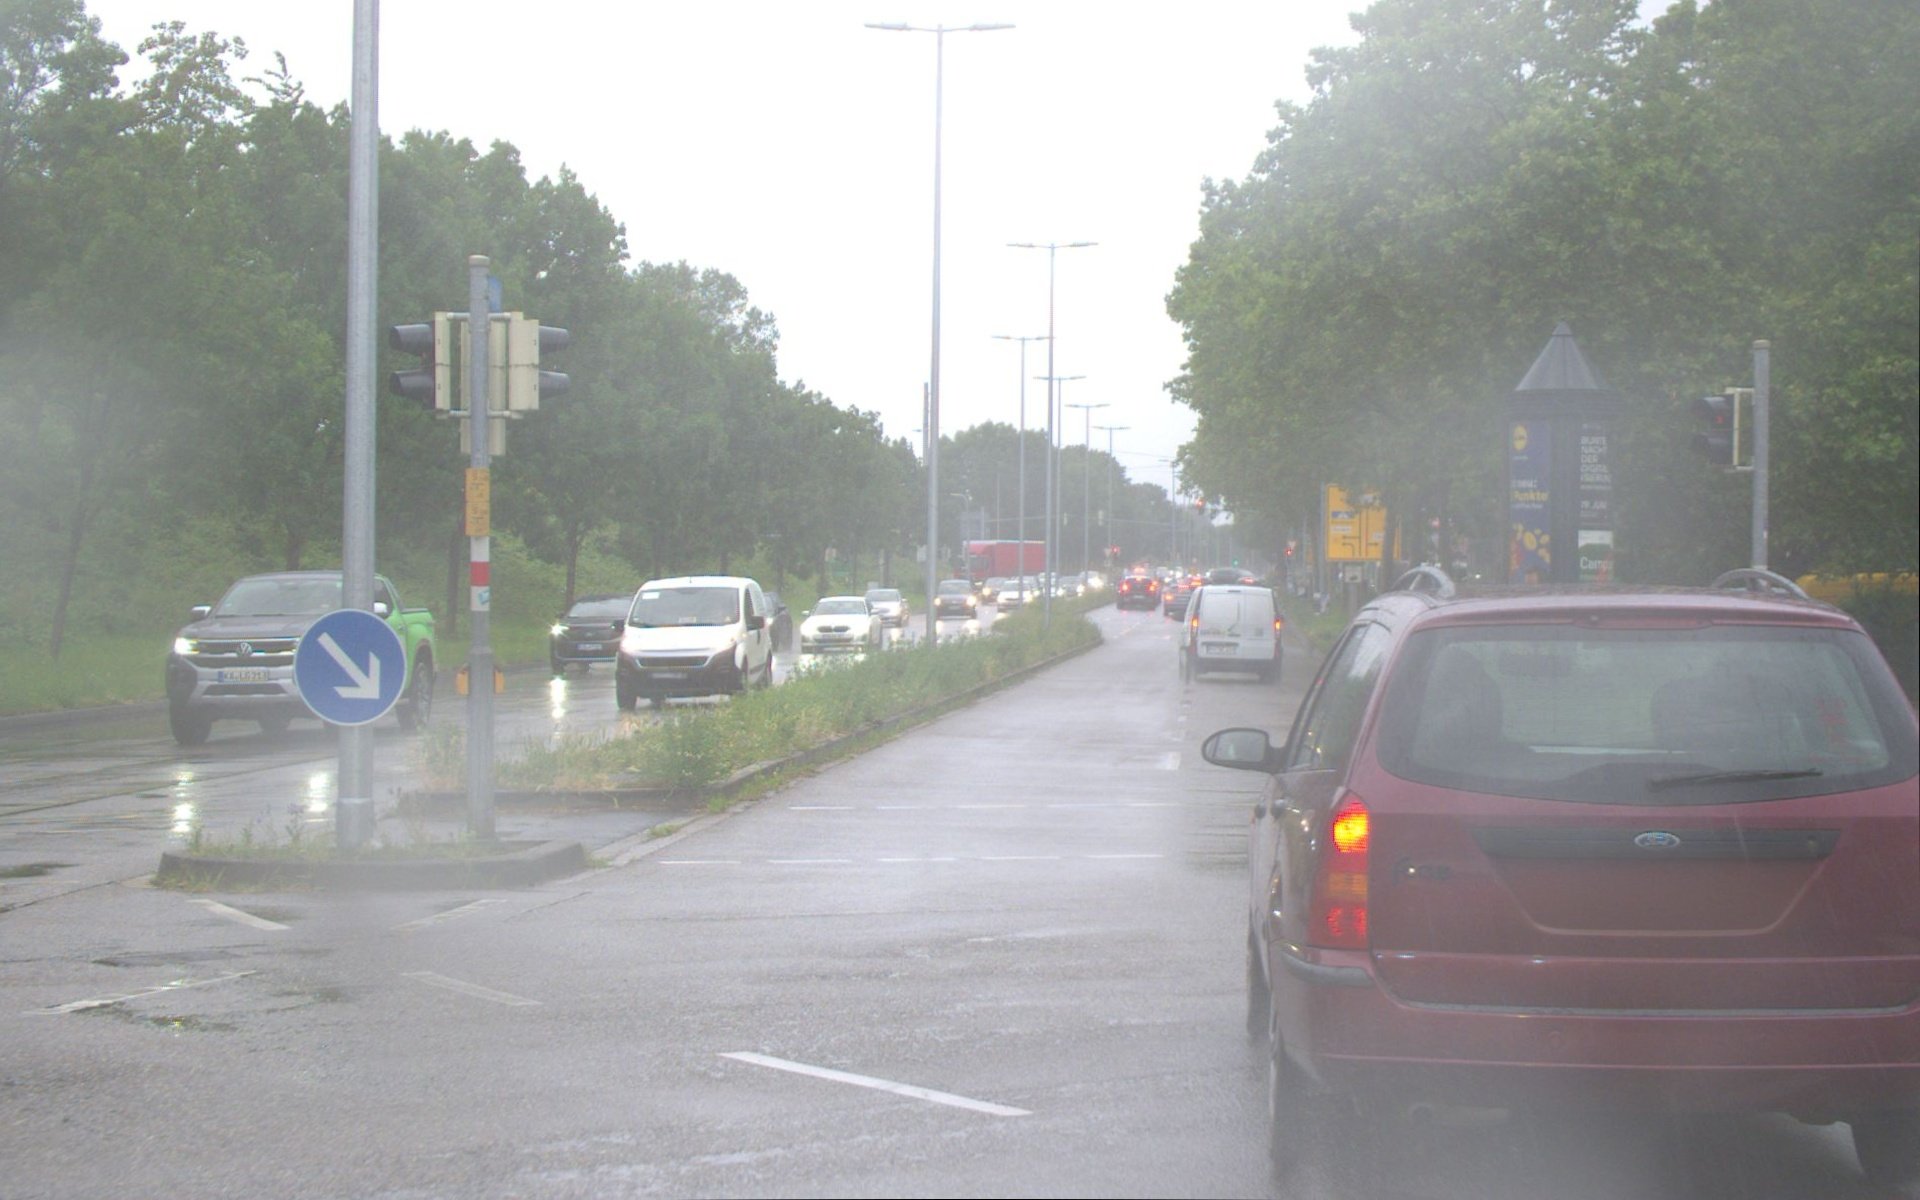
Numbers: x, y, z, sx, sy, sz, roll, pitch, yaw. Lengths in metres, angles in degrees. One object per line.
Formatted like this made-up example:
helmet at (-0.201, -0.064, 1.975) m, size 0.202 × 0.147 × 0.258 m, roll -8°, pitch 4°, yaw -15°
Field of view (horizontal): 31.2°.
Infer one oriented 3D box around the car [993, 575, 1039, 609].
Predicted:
car at (2.667, -0.370, 163.212) m, size 1.963 × 1.591 × 4.283 m, roll 0°, pitch 0°, yaw 4°

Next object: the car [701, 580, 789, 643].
car at (-5.913, 0.288, 94.980) m, size 1.963 × 1.696 × 4.283 m, roll 0°, pitch 0°, yaw 3°

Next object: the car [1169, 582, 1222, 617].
car at (10.550, -0.034, 153.699) m, size 2.148 × 1.523 × 4.191 m, roll 1°, pitch 0°, yaw 6°

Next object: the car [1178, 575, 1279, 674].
car at (4.979, 0.424, 64.183) m, size 1.736 × 1.720 × 4.243 m, roll 2°, pitch 0°, yaw 3°

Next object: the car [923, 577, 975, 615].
car at (-0.472, -0.177, 145.822) m, size 1.963 × 1.591 × 4.283 m, roll 0°, pitch 0°, yaw 3°

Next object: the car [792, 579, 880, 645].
car at (-3.273, 0.304, 91.235) m, size 1.963 × 1.696 × 4.283 m, roll 0°, pitch 0°, yaw 3°

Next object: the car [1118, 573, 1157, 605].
car at (8.727, -0.549, 168.709) m, size 1.698 × 1.523 × 3.845 m, roll 1°, pitch 0°, yaw 6°

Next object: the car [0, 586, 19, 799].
car at (-8.107, 0.675, 23.614) m, size 1.762 × 1.581 × 4.813 m, roll 0°, pitch 0°, yaw 3°

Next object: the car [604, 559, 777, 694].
car at (-3.567, 0.325, 46.169) m, size 1.744 × 1.696 × 4.283 m, roll -1°, pitch 0°, yaw 3°

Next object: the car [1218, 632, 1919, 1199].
car at (1.596, 0.887, 9.364) m, size 1.642 × 1.460 × 3.732 m, roll 3°, pitch 1°, yaw 3°

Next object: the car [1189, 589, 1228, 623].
car at (11.607, 0.272, 160.229) m, size 1.698 × 1.523 × 3.845 m, roll 1°, pitch 0°, yaw 5°

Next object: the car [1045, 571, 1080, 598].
car at (6.229, -0.953, 208.366) m, size 1.963 × 1.591 × 4.283 m, roll 0°, pitch 0°, yaw 4°

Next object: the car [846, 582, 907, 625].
car at (-3.135, 0.119, 129.943) m, size 1.963 × 1.591 × 4.283 m, roll 0°, pitch 0°, yaw 3°

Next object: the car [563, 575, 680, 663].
car at (-7.073, 0.377, 72.268) m, size 1.744 × 1.696 × 4.283 m, roll 3°, pitch 0°, yaw 3°

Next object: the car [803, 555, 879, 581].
car at (-7.316, -1.936, 210.974) m, size 4.269 × 1.591 × 1.969 m, roll 0°, pitch 0°, yaw -31°

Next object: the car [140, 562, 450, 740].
car at (-7.203, 0.504, 37.857) m, size 2.066 × 1.813 × 5.541 m, roll 0°, pitch 0°, yaw 3°
